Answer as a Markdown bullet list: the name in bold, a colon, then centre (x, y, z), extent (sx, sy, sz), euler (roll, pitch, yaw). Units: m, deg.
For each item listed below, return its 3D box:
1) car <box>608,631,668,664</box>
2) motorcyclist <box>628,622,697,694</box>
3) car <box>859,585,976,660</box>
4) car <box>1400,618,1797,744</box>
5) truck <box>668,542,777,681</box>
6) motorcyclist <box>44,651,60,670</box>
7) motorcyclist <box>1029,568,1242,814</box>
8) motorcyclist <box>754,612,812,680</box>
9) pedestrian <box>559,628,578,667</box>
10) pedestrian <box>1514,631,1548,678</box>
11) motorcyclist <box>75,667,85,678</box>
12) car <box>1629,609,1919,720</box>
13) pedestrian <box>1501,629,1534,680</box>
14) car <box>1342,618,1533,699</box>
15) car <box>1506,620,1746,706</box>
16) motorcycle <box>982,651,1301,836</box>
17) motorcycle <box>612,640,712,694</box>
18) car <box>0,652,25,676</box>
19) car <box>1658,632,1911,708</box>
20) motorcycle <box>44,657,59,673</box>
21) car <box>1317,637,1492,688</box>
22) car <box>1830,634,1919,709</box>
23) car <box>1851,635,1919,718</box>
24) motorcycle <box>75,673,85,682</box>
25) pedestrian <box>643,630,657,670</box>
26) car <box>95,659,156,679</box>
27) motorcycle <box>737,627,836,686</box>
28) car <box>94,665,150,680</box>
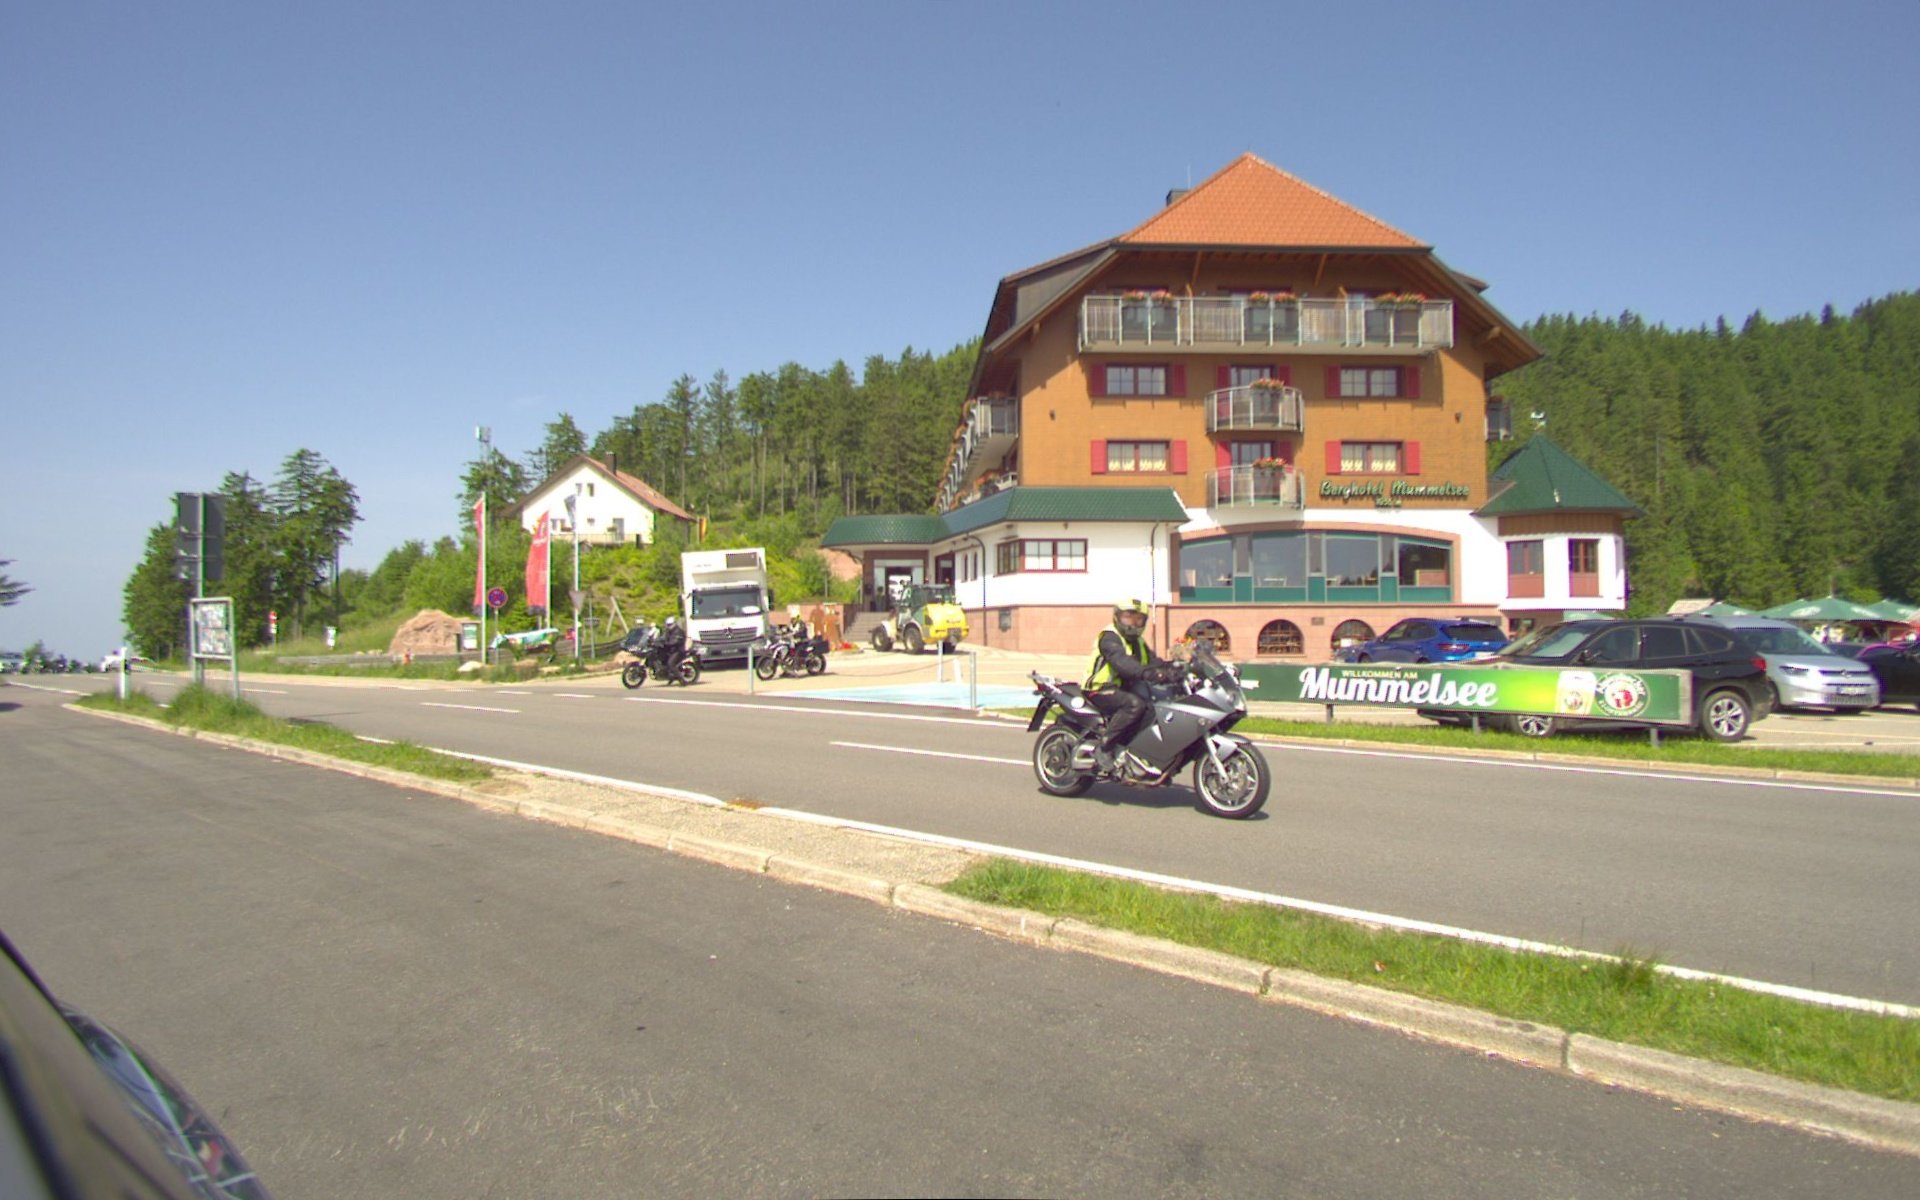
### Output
- **car**: centre (-16.689, 2.421, 52.702), extent (1.853, 1.364, 4.000), euler (0, 3, 0)
- **motorcyclist**: centre (-7.440, 1.427, 25.279), extent (1.428, 1.731, 0.928), euler (0, -3, -34)
- **car**: centre (-1.560, 0.777, 35.953), extent (1.970, 2.515, 4.004), euler (2, -1, -44)
- **car**: centre (8.411, 1.050, 13.612), extent (4.132, 1.552, 1.808), euler (0, -3, -1)
- **truck**: centre (-8.039, 0.326, 34.434), extent (3.019, 4.002, 8.794), euler (-2, 0, -13)
- **motorcyclist**: centre (-77.701, 5.155, 86.580), extent (1.300, 1.654, 0.869), euler (-3, -4, 45)
- **motorcyclist**: centre (1.349, 0.643, 7.750), extent (1.290, 1.688, 1.016), euler (-1, -2, 35)
- **motorcyclist**: centre (-4.746, 1.195, 27.064), extent (1.226, 1.733, 1.068), euler (-1, 0, -28)
- **pedestrian**: centre (-17.447, 2.119, 45.089), extent (0.687, 1.729, 0.800), euler (0, -3, -14)
- **pedestrian**: centre (18.369, 1.749, 32.587), extent (0.693, 1.501, 0.625), euler (0, -3, 3)
- **motorcyclist**: centre (-119.173, 9.815, 137.045), extent (0.828, 1.452, 1.007), euler (2, -3, -37)
- **car**: centre (15.454, 1.207, 19.544), extent (1.808, 1.878, 4.532), euler (0, -3, -3)
- **pedestrian**: centre (18.329, 1.782, 33.277), extent (0.693, 1.645, 0.625), euler (0, -3, 3)
- **car**: centre (10.845, 1.286, 23.423), extent (1.910, 1.676, 4.550), euler (0, -2, -5)
- **car**: centre (13.207, 1.242, 20.430), extent (1.970, 1.557, 4.003), euler (0, -3, -3)
- **motorcycle**: centre (1.335, 1.004, 7.755), extent (2.281, 1.186, 0.815), euler (-1, -2, 36)
- **motorcycle**: centre (-7.449, 1.655, 25.332), extent (2.239, 1.266, 0.881), euler (0, -3, -34)
- **car**: centre (-61.106, 4.055, 64.450), extent (3.997, 1.468, 1.758), euler (-3, -4, 40)
- **car**: centre (17.723, 1.472, 22.046), extent (1.905, 1.494, 4.006), euler (1, -3, -7)
- **motorcycle**: centre (-77.737, 5.555, 86.621), extent (2.328, 1.275, 0.802), euler (-3, -4, 45)
- **car**: centre (12.011, 1.686, 27.485), extent (3.941, 1.307, 1.715), euler (0, -3, -3)
- **car**: centre (20.252, 1.437, 20.242), extent (1.905, 1.494, 4.006), euler (1, -3, -7)
- **car**: centre (17.816, 1.300, 16.994), extent (1.885, 1.441, 4.005), euler (0, -3, -6)
- **motorcycle**: centre (-119.201, 10.477, 137.076), extent (0.828, 1.104, 2.188), euler (0, -2, -37)
- **pedestrian**: centre (-13.351, 2.144, 43.596), extent (0.566, 1.702, 0.654), euler (0, -3, -14)
- **car**: centre (-88.043, 7.299, 106.762), extent (1.932, 1.896, 4.665), euler (-4, -7, 43)
- **motorcycle**: centre (-4.644, 1.490, 27.140), extent (2.402, 1.417, 1.009), euler (-1, 0, -28)
- **car**: centre (-80.931, 7.044, 97.780), extent (1.932, 1.384, 3.875), euler (-4, -7, 43)
